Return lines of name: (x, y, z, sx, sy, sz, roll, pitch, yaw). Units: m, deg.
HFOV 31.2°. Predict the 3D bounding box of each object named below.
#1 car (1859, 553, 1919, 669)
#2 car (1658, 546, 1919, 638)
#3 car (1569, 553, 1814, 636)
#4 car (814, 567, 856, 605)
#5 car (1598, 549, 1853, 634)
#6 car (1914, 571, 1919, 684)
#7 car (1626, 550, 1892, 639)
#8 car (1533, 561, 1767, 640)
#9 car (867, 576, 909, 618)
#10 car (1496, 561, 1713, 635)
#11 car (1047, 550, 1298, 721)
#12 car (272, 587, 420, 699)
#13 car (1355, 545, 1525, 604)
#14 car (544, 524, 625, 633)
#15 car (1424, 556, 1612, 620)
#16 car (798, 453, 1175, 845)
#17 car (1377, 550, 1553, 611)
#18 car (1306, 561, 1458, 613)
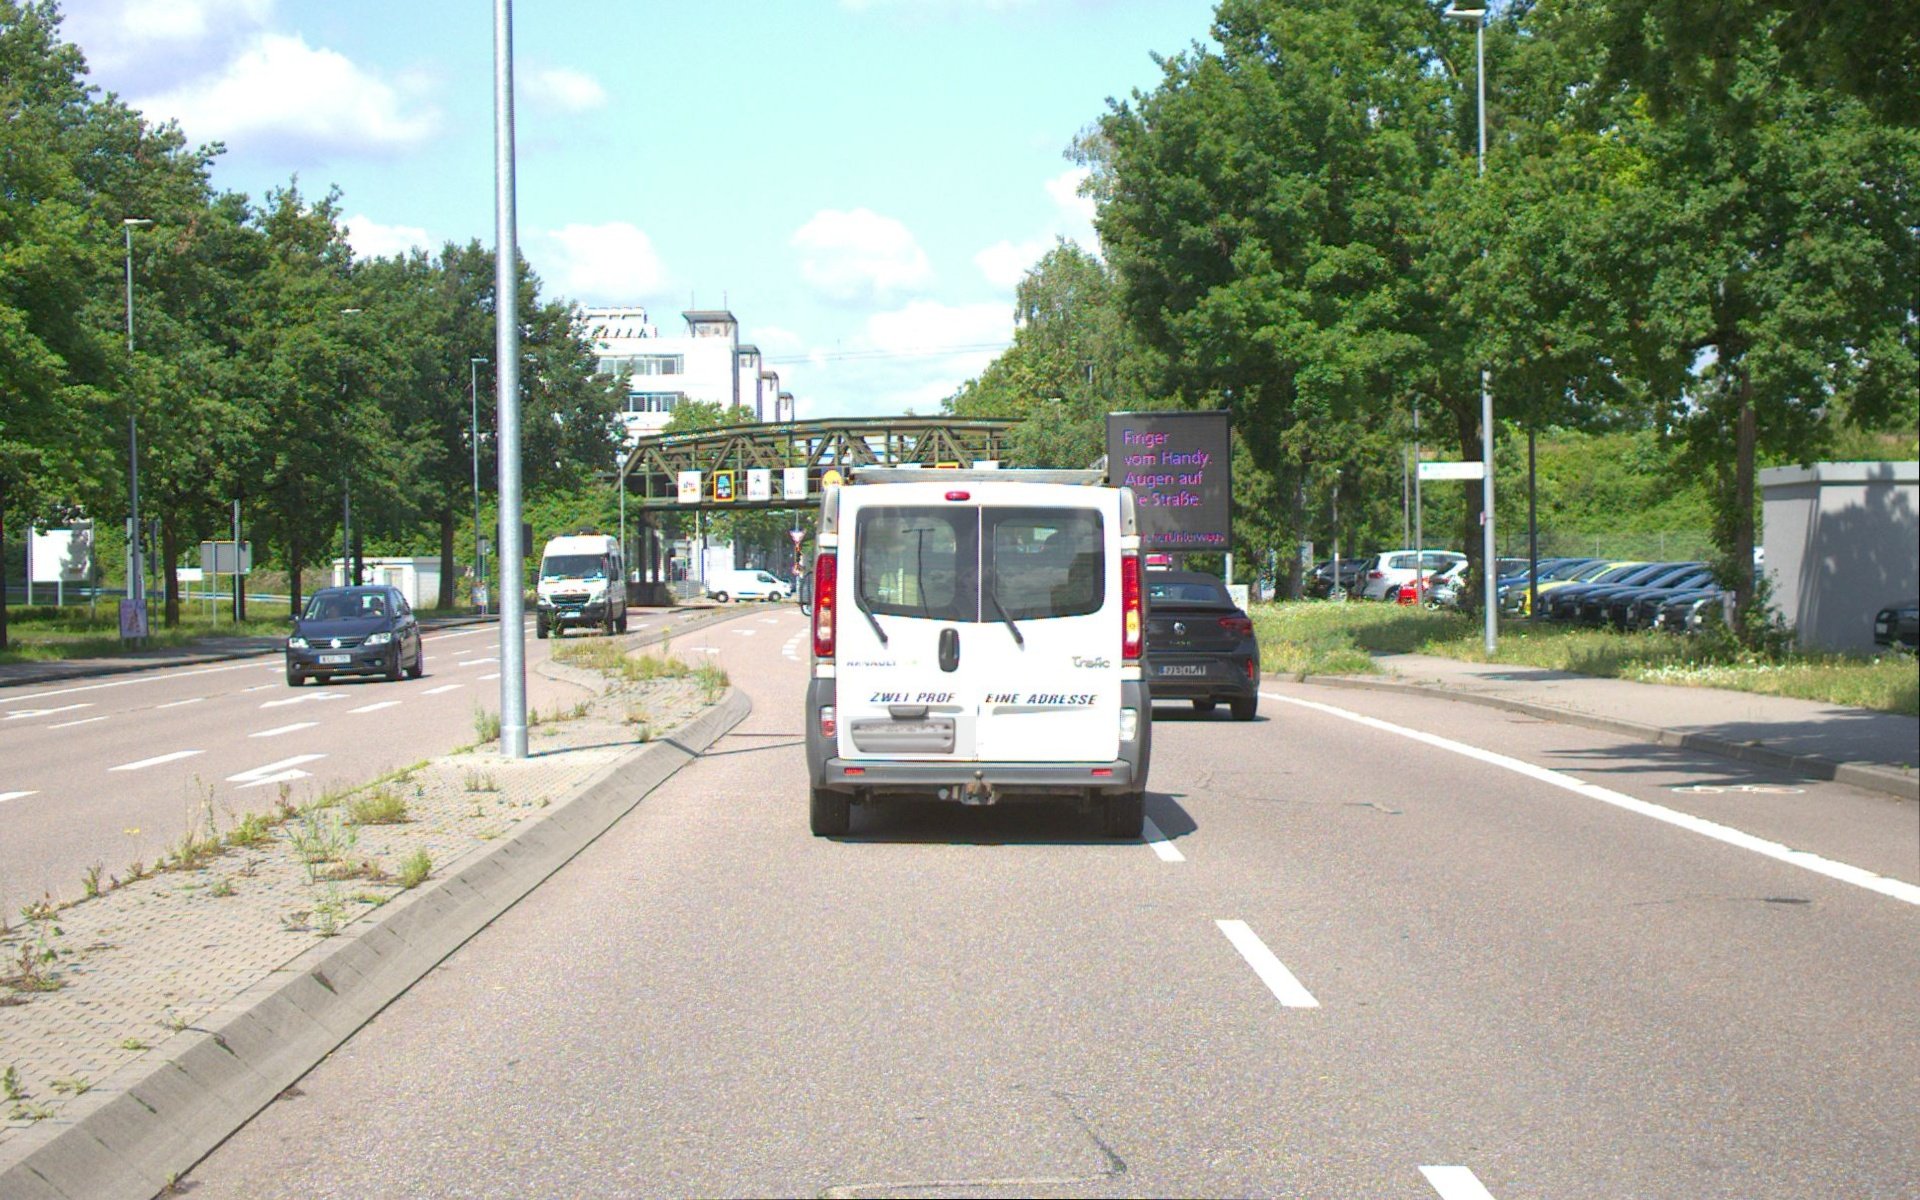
car: (14.394, 0.129, 45.768, 4.355, 1.507, 1.855, 0, 0, 0)
car: (14.643, -0.149, 60.306, 4.354, 1.507, 1.936, 1, 2, -2)
car: (14.424, -0.117, 67.951, 4.354, 1.507, 1.936, 1, 2, -2)
car: (-6.434, -0.729, 177.417, 1.993, 1.765, 4.000, 1, 2, 0)
car: (14.552, -0.168, 65.498, 4.354, 1.507, 1.936, 1, 2, -2)
car: (14.261, 0.385, 43.038, 4.107, 1.440, 1.855, 1, 1, 0)
car: (14.572, -0.107, 62.876, 4.354, 1.507, 1.936, 1, 2, -2)
car: (14.153, -0.003, 70.647, 4.354, 1.507, 1.936, 1, 2, -2)
car: (-3.473, -0.144, 166.827, 1.993, 2.007, 4.000, 0, 0, 0)
car: (14.177, -0.052, 75.757, 4.354, 1.507, 1.936, 1, 2, -2)
car: (2.148, 0.320, 35.850, 1.773, 1.623, 4.001, 0, 2, -9)
car: (-9.853, 0.653, 55.390, 1.738, 1.604, 4.242, -4, 1, -3)
car: (13.195, -0.709, 94.689, 4.354, 1.507, 1.936, 1, 2, -2)
car: (-10.281, -0.581, 94.476, 2.022, 2.883, 6.383, 0, 0, -5)
car: (14.012, -0.313, 86.523, 4.354, 1.507, 1.936, 1, 2, -2)
car: (0.137, 0.198, 20.336, 1.973, 2.053, 4.565, 0, 2, 0)
car: (13.478, -0.531, 91.907, 4.354, 1.507, 1.936, 1, 2, -2)
car: (12.945, -0.404, 105.535, 4.354, 1.507, 1.936, 1, 2, -2)
